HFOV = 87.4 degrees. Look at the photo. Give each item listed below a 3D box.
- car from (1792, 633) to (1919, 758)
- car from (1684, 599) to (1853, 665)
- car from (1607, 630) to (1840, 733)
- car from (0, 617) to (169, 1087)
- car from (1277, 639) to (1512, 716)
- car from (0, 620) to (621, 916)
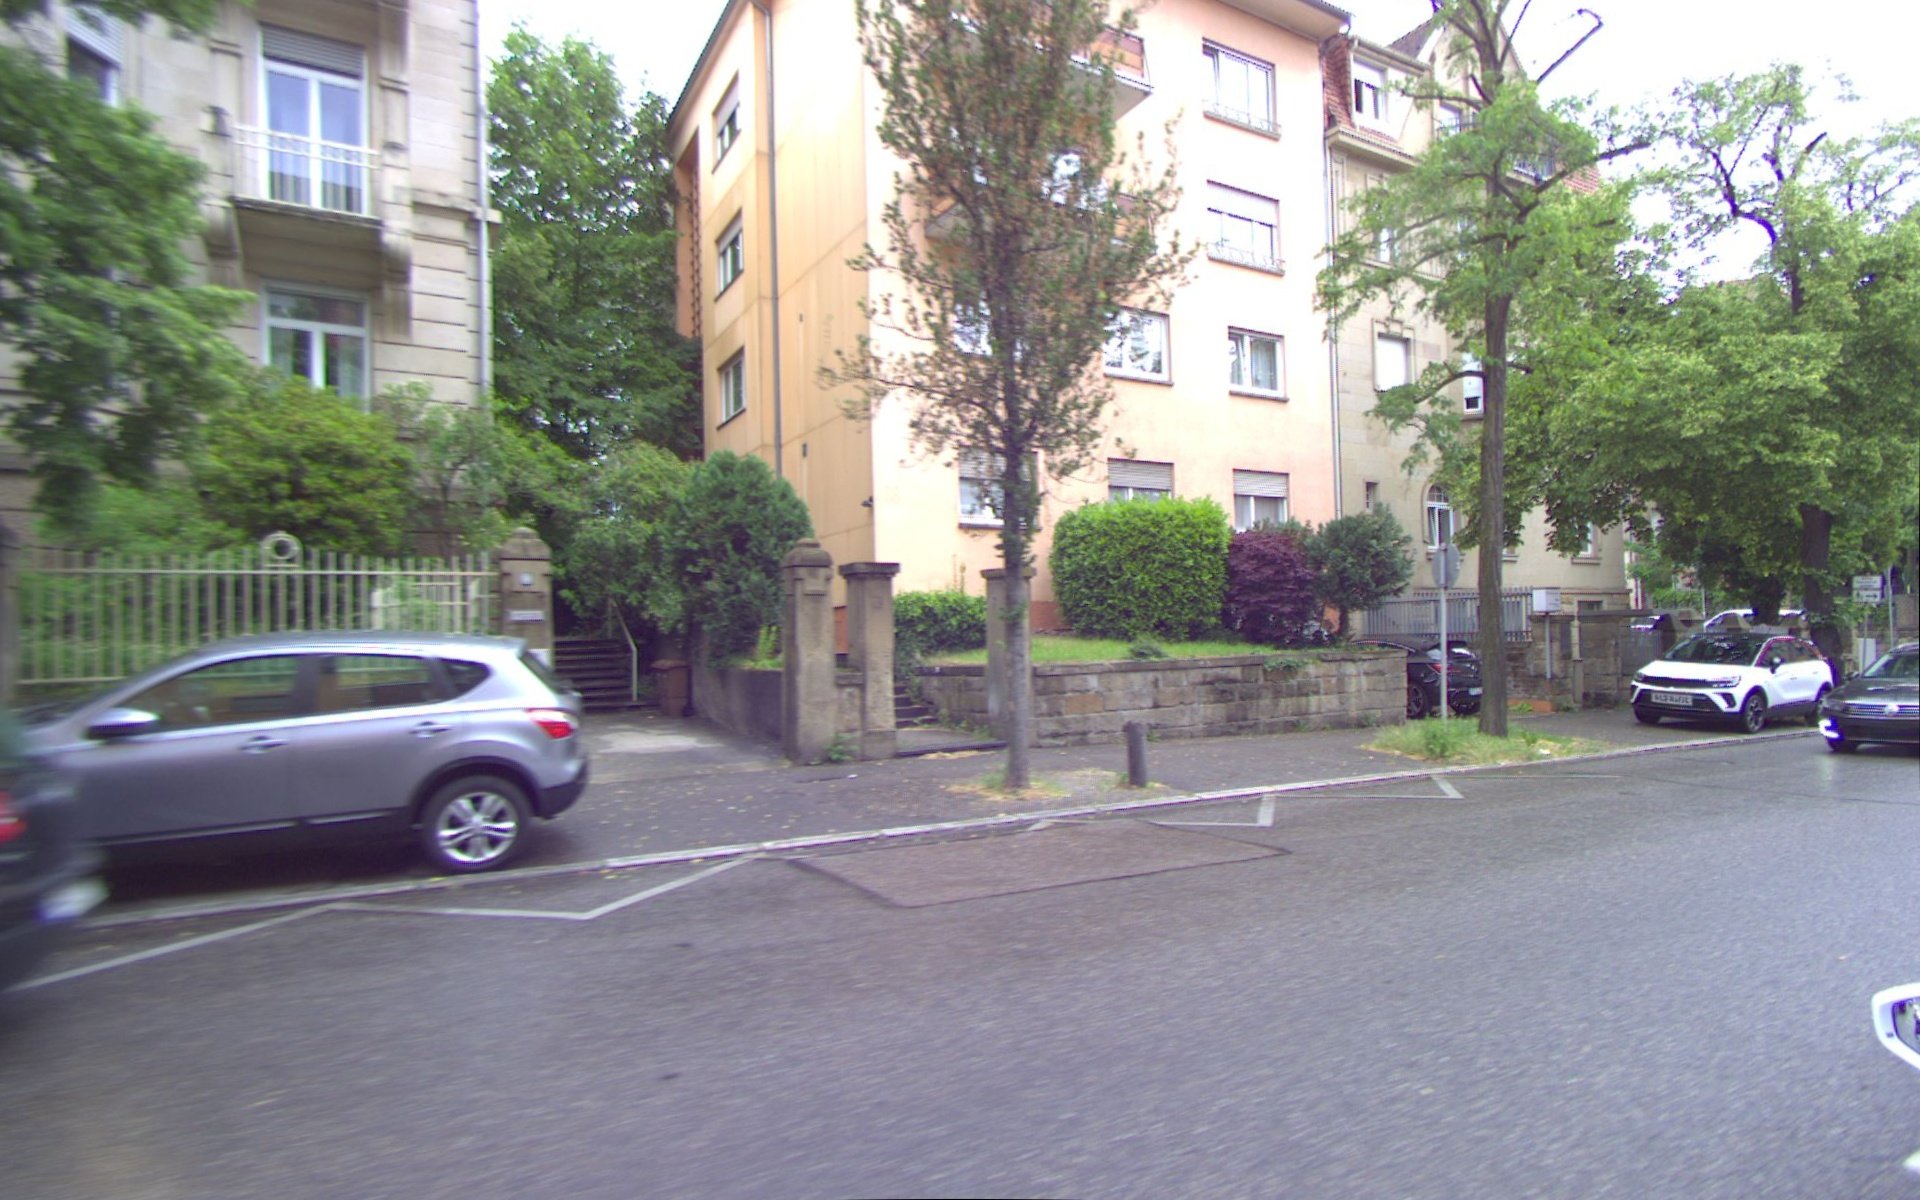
[{"bbox_3d":[13.556,1.252,13.787,4.494,1.537,1.807,2,-4,-30],"label":"car"},{"bbox_3d":[30.703,1.155,38.349,1.992,2.076,4.662,0,3,-15],"label":"car"},{"bbox_3d":[13.427,1.382,17.611,4.251,1.580,1.733,3,-1,-30],"label":"car"},{"bbox_3d":[-5.423,0.877,3.021,4.535,1.537,1.764,0,-2,-30],"label":"car"},{"bbox_3d":[8.435,1.457,19.838,1.816,1.344,3.968,1,-3,-31],"label":"car"},{"bbox_3d":[-4.692,0.983,6.819,4.251,1.580,1.733,3,-1,-30],"label":"car"}]
